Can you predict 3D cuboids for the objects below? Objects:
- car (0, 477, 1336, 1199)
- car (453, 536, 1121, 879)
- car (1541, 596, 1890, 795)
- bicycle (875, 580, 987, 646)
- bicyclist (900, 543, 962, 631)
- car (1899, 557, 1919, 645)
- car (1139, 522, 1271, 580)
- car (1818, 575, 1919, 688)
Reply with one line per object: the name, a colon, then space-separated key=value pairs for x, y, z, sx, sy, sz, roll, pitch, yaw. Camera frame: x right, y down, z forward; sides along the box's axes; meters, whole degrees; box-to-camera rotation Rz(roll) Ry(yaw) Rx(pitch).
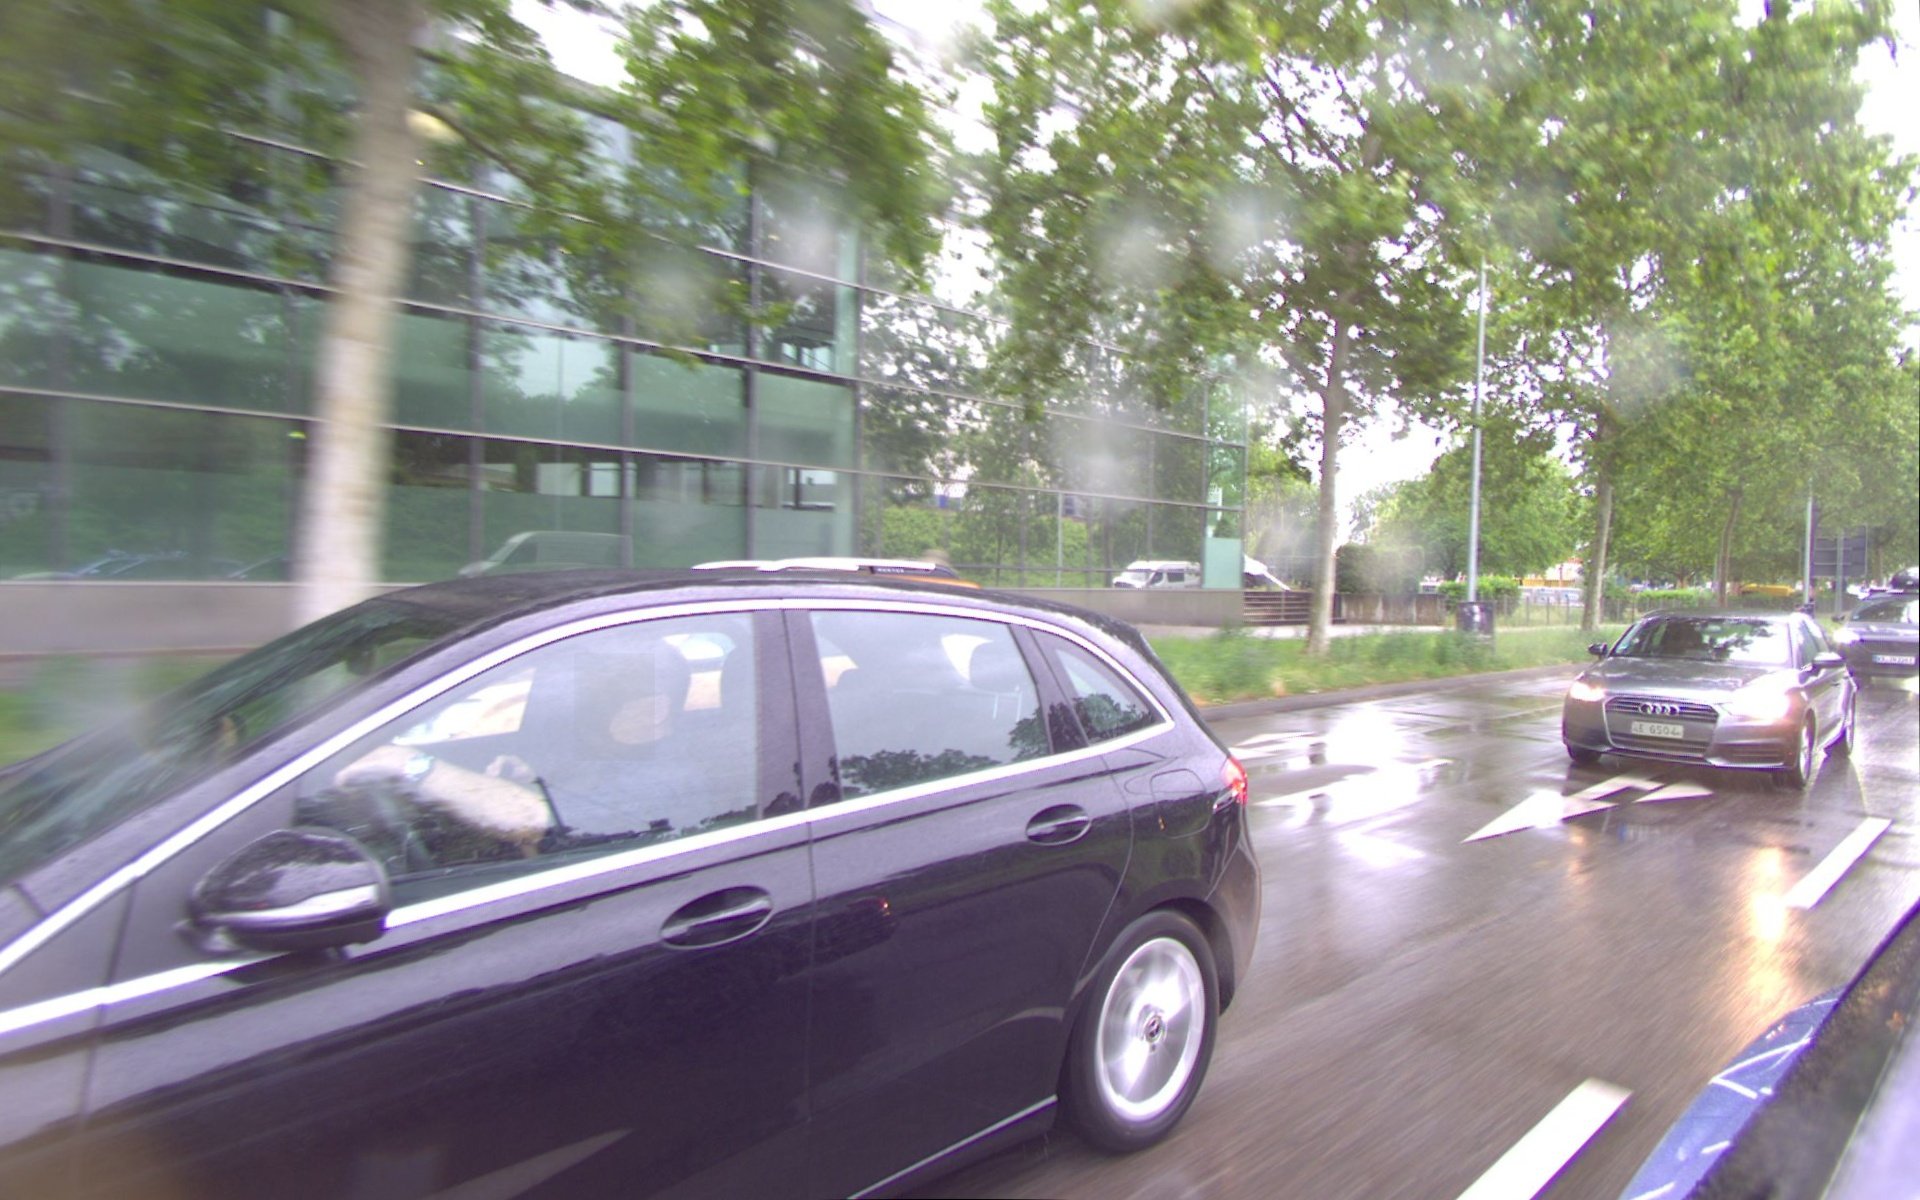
car: x=-1.055 y=0.591 z=2.416 sx=4.014 sy=1.542 sz=1.875 roll=0 pitch=2 yaw=-39
car: x=-0.996 y=0.472 z=6.916 sx=4.096 sy=1.652 sz=1.904 roll=0 pitch=2 yaw=-40
car: x=7.000 y=0.684 z=9.261 sx=3.688 sy=1.415 sz=1.839 roll=0 pitch=1 yaw=-41
bicycle: x=-0.507 y=0.207 z=18.553 sx=2.042 sy=1.117 sz=0.744 roll=-1 pitch=4 yaw=-43
bicyclist: x=-0.526 y=-0.251 z=18.494 sx=0.739 sy=1.533 sz=0.806 roll=-1 pitch=5 yaw=-42
car: x=29.186 y=0.040 z=29.578 sx=4.891 sy=2.460 sz=1.997 roll=0 pitch=2 yaw=-41
car: x=10.909 y=-2.159 z=45.363 sx=5.610 sy=2.487 sz=1.992 roll=0 pitch=0 yaw=13
car: x=16.718 y=0.489 z=17.674 sx=4.252 sy=1.769 sz=1.997 roll=0 pitch=2 yaw=-41
